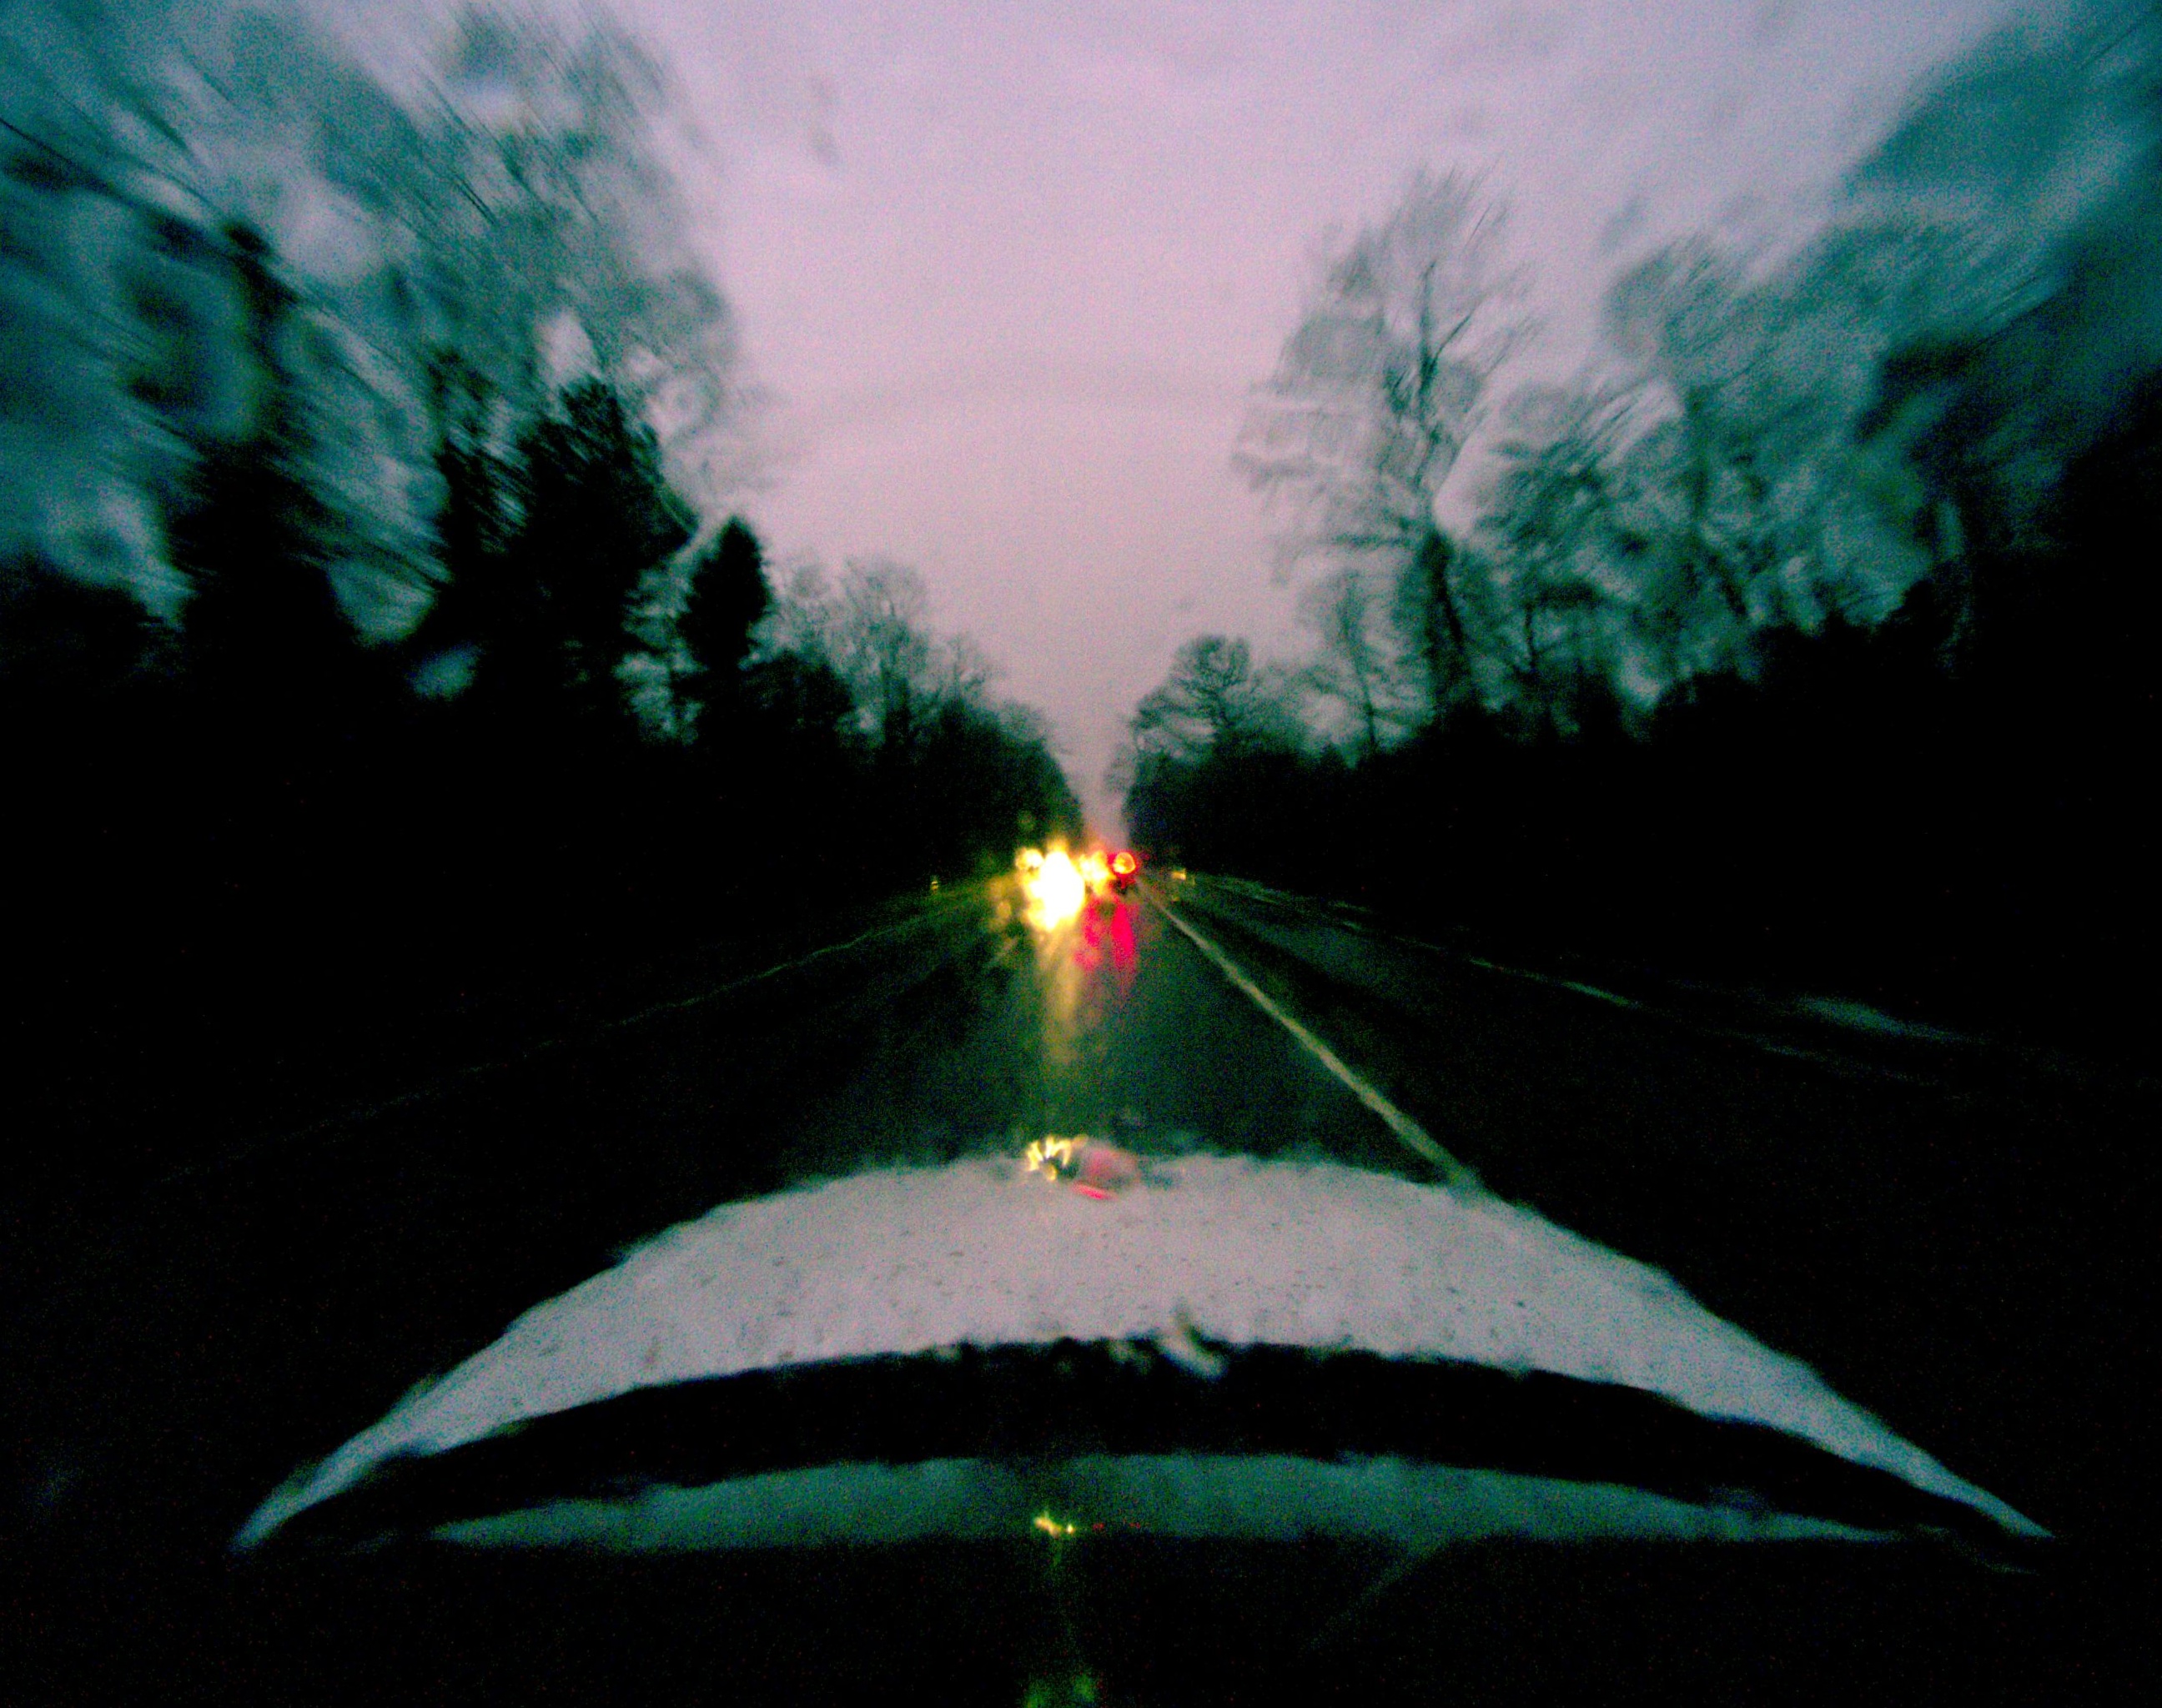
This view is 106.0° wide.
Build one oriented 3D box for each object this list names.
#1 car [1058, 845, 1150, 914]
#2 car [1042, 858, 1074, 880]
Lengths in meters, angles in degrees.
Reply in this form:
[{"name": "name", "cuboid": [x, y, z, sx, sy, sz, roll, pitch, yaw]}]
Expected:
[{"name": "car", "cuboid": [0.948, 0.909, 31.490, 3.170, 2.387, 6.640, -1, -1, 3]}, {"name": "car", "cuboid": [-1.787, 1.138, 64.807, 1.966, 1.568, 4.932, -3, 0, 4]}]
